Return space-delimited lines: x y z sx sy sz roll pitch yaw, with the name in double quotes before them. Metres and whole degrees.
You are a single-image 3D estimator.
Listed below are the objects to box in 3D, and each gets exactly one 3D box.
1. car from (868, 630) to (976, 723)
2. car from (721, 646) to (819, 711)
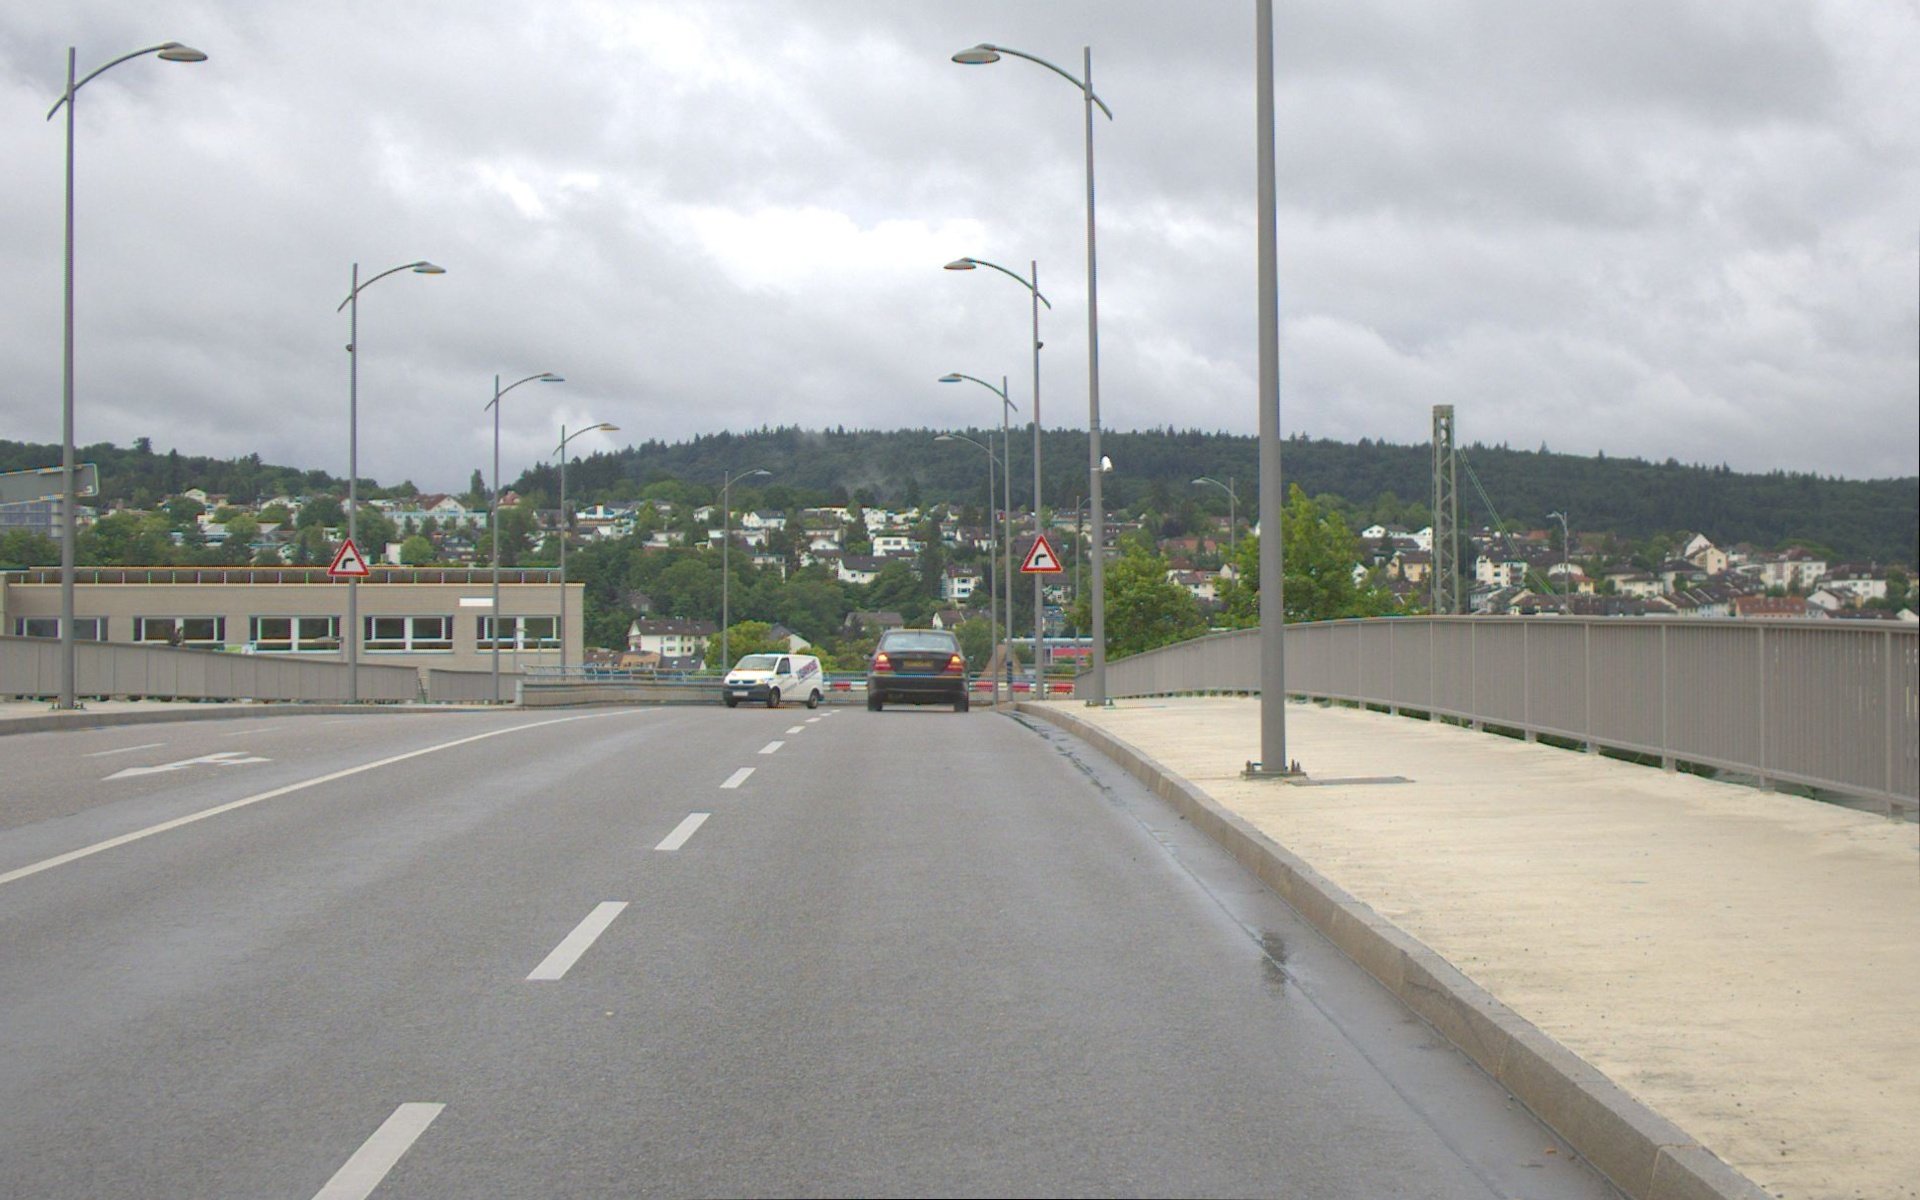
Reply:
"car" -0.640 1.259 57.910 1.754 1.474 4.000 0 0 0
"car" -6.784 2.822 123.050 1.954 2.092 4.087 -3 -5 21
